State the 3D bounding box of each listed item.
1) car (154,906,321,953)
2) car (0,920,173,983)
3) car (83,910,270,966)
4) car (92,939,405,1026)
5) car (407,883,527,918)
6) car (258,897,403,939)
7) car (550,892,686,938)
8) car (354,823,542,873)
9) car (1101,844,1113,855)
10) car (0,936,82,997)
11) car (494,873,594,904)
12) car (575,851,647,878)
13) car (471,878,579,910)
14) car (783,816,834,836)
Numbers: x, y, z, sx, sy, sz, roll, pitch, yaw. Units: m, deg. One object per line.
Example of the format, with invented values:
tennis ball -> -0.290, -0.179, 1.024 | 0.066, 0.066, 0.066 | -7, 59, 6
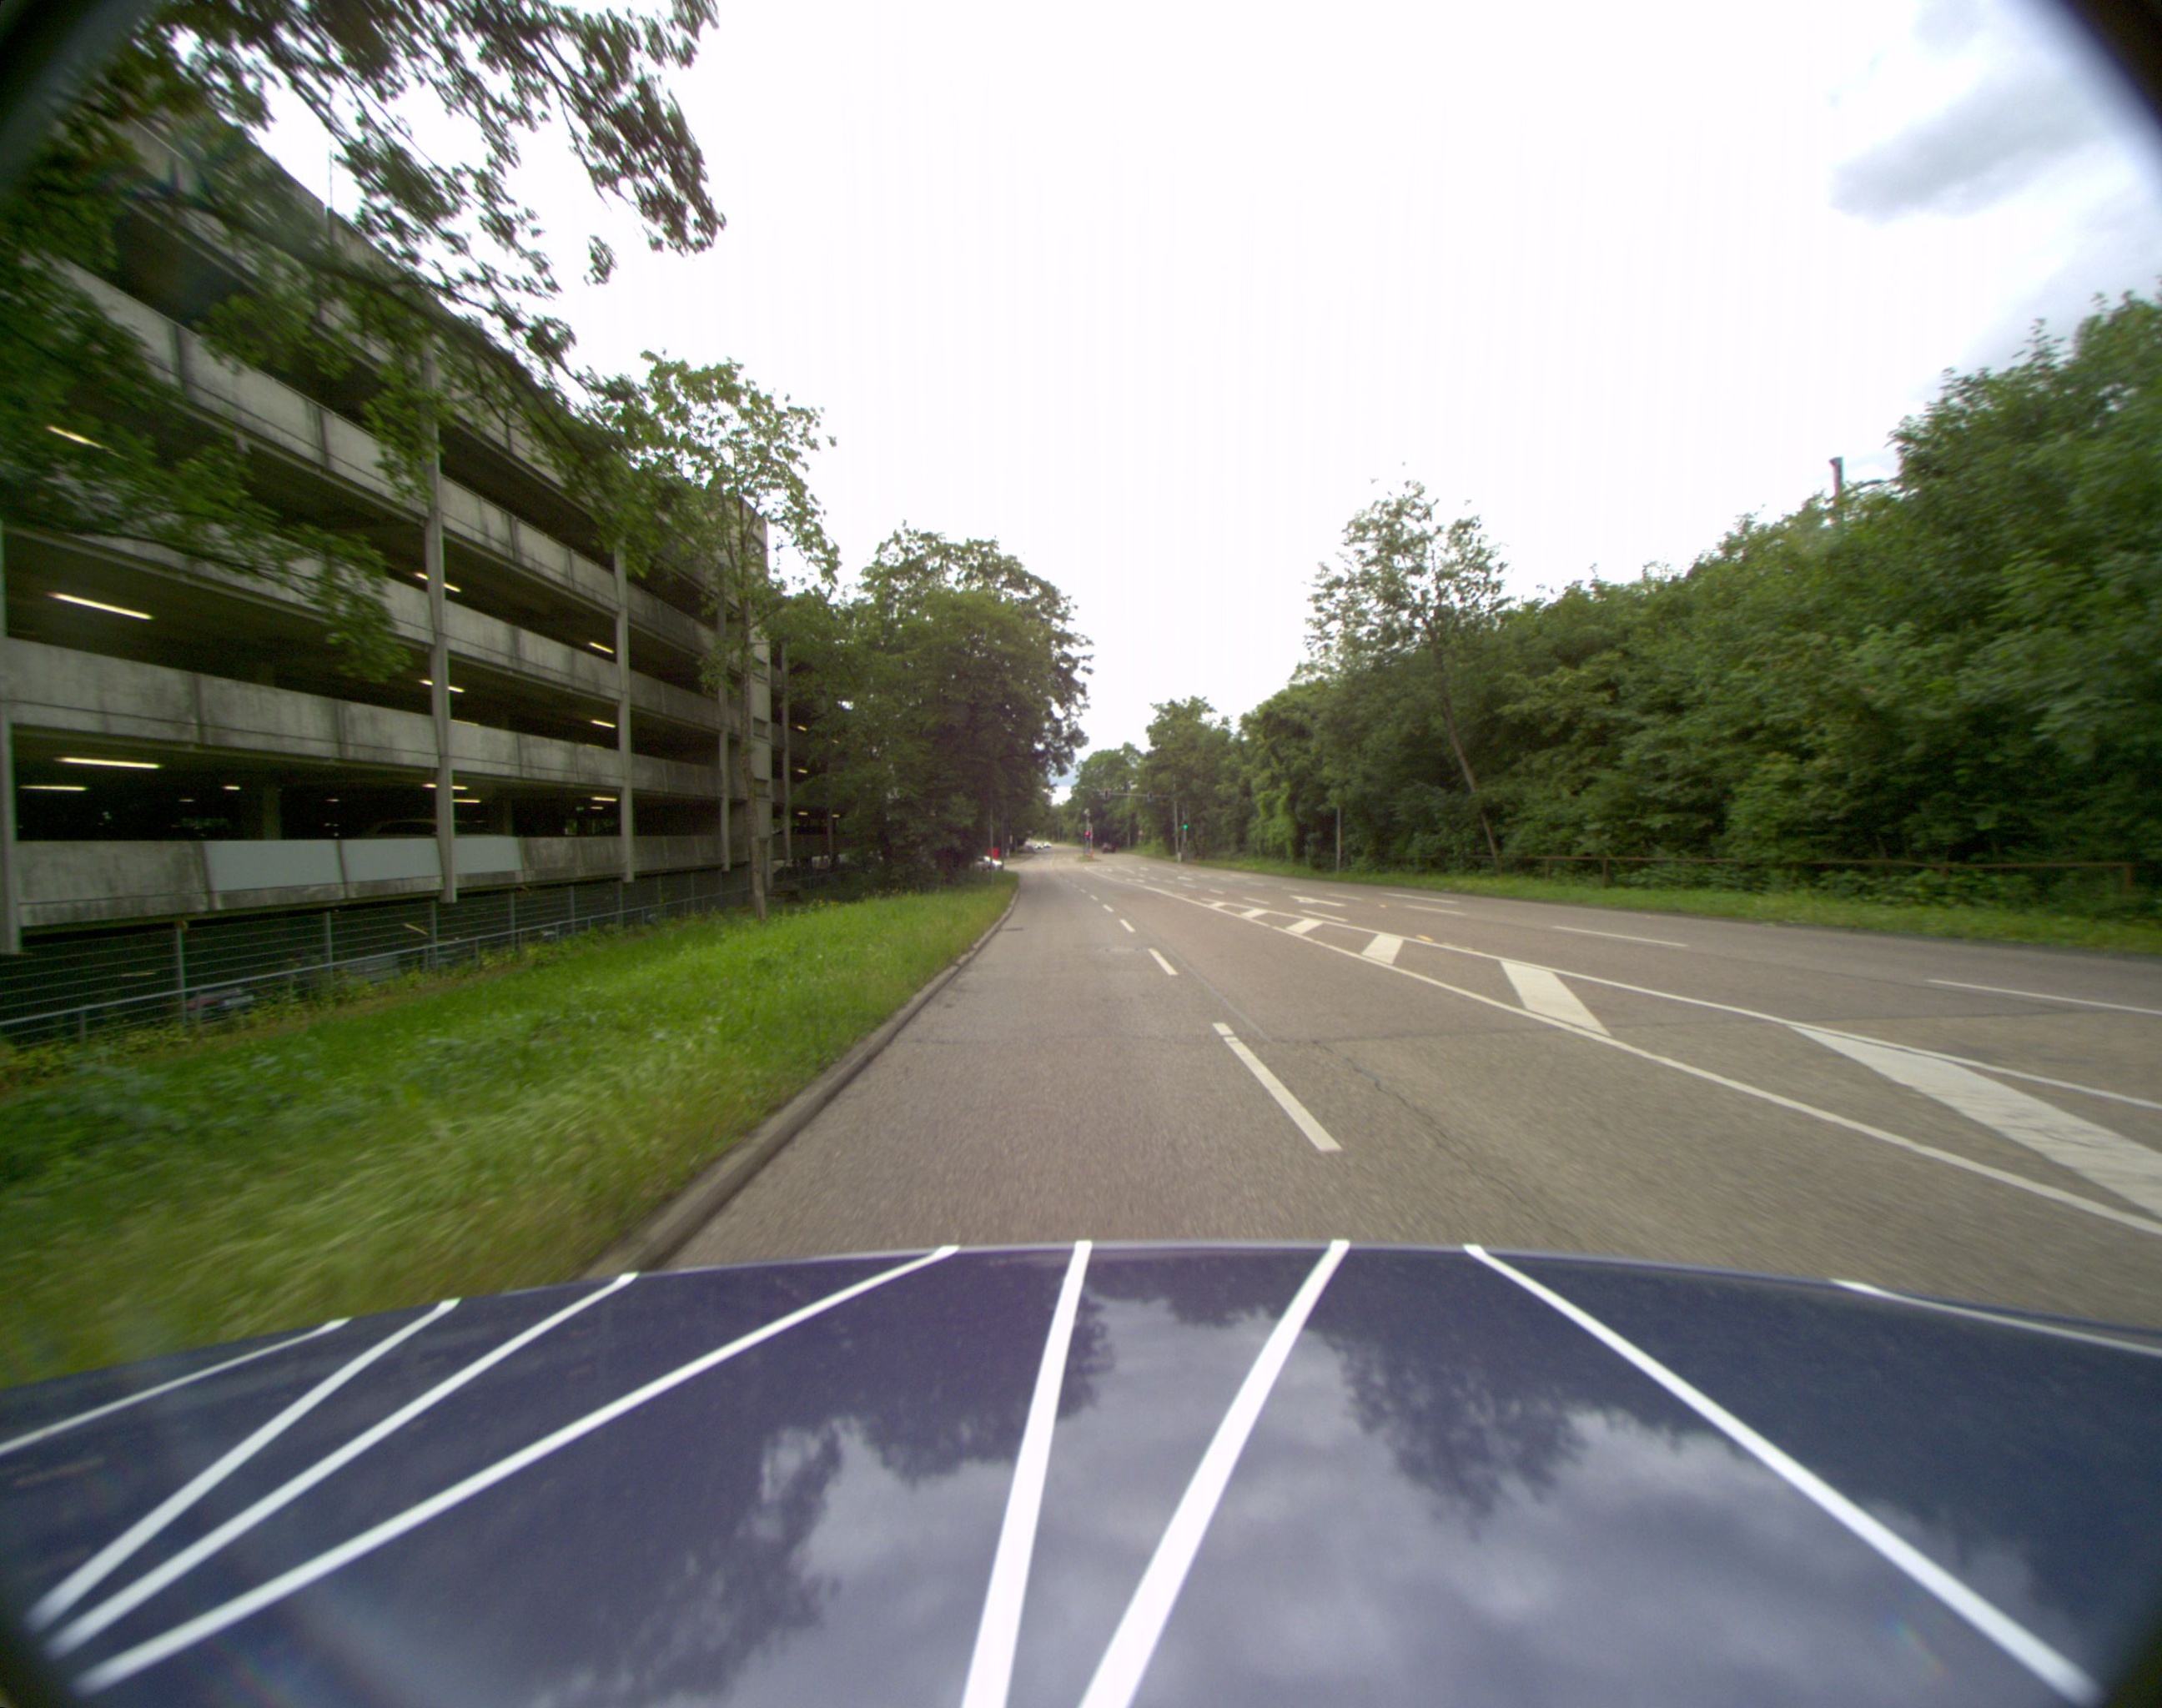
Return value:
car -> -28.821, 2.567, 26.051 | 3.673, 1.343, 1.672 | 0, 2, -3
car -> -28.340, 2.693, 21.238 | 3.673, 1.471, 1.672 | 0, 2, -3
car -> -28.333, 2.604, 23.901 | 3.673, 1.474, 1.672 | 0, 2, -3
car -> -18.231, 2.795, 16.835 | 4.603, 1.498, 1.947 | 0, 2, -2
car -> -28.997, 2.169, 36.007 | 4.071, 1.444, 1.825 | -1, 2, -3
car -> -28.253, 2.395, 28.695 | 3.673, 1.343, 1.672 | 0, 2, -3
car -> -17.734, 2.306, 29.256 | 3.998, 1.524, 1.862 | -1, 2, -4
car -> -17.990, -0.186, 21.725 | 3.841, 1.336, 1.832 | 0, 2, 2
car -> 4.277, -0.764, 126.640 | 1.826, 1.644, 4.220 | -3, 2, 0
car -> -28.436, 2.861, 19.298 | 3.673, 1.276, 1.672 | 0, 2, -3
car -> -29.361, 1.876, 41.620 | 4.071, 1.480, 1.825 | -1, 2, -3
car -> -34.621, 0.754, 56.071 | 3.998, 1.719, 1.998 | -1, 4, -3
car -> -28.340, 2.038, 38.832 | 4.071, 1.408, 1.825 | -1, 2, -3
car -> -18.441, -1.913, 51.456 | 2.895, 1.240, 1.355 | -1, 4, -2
